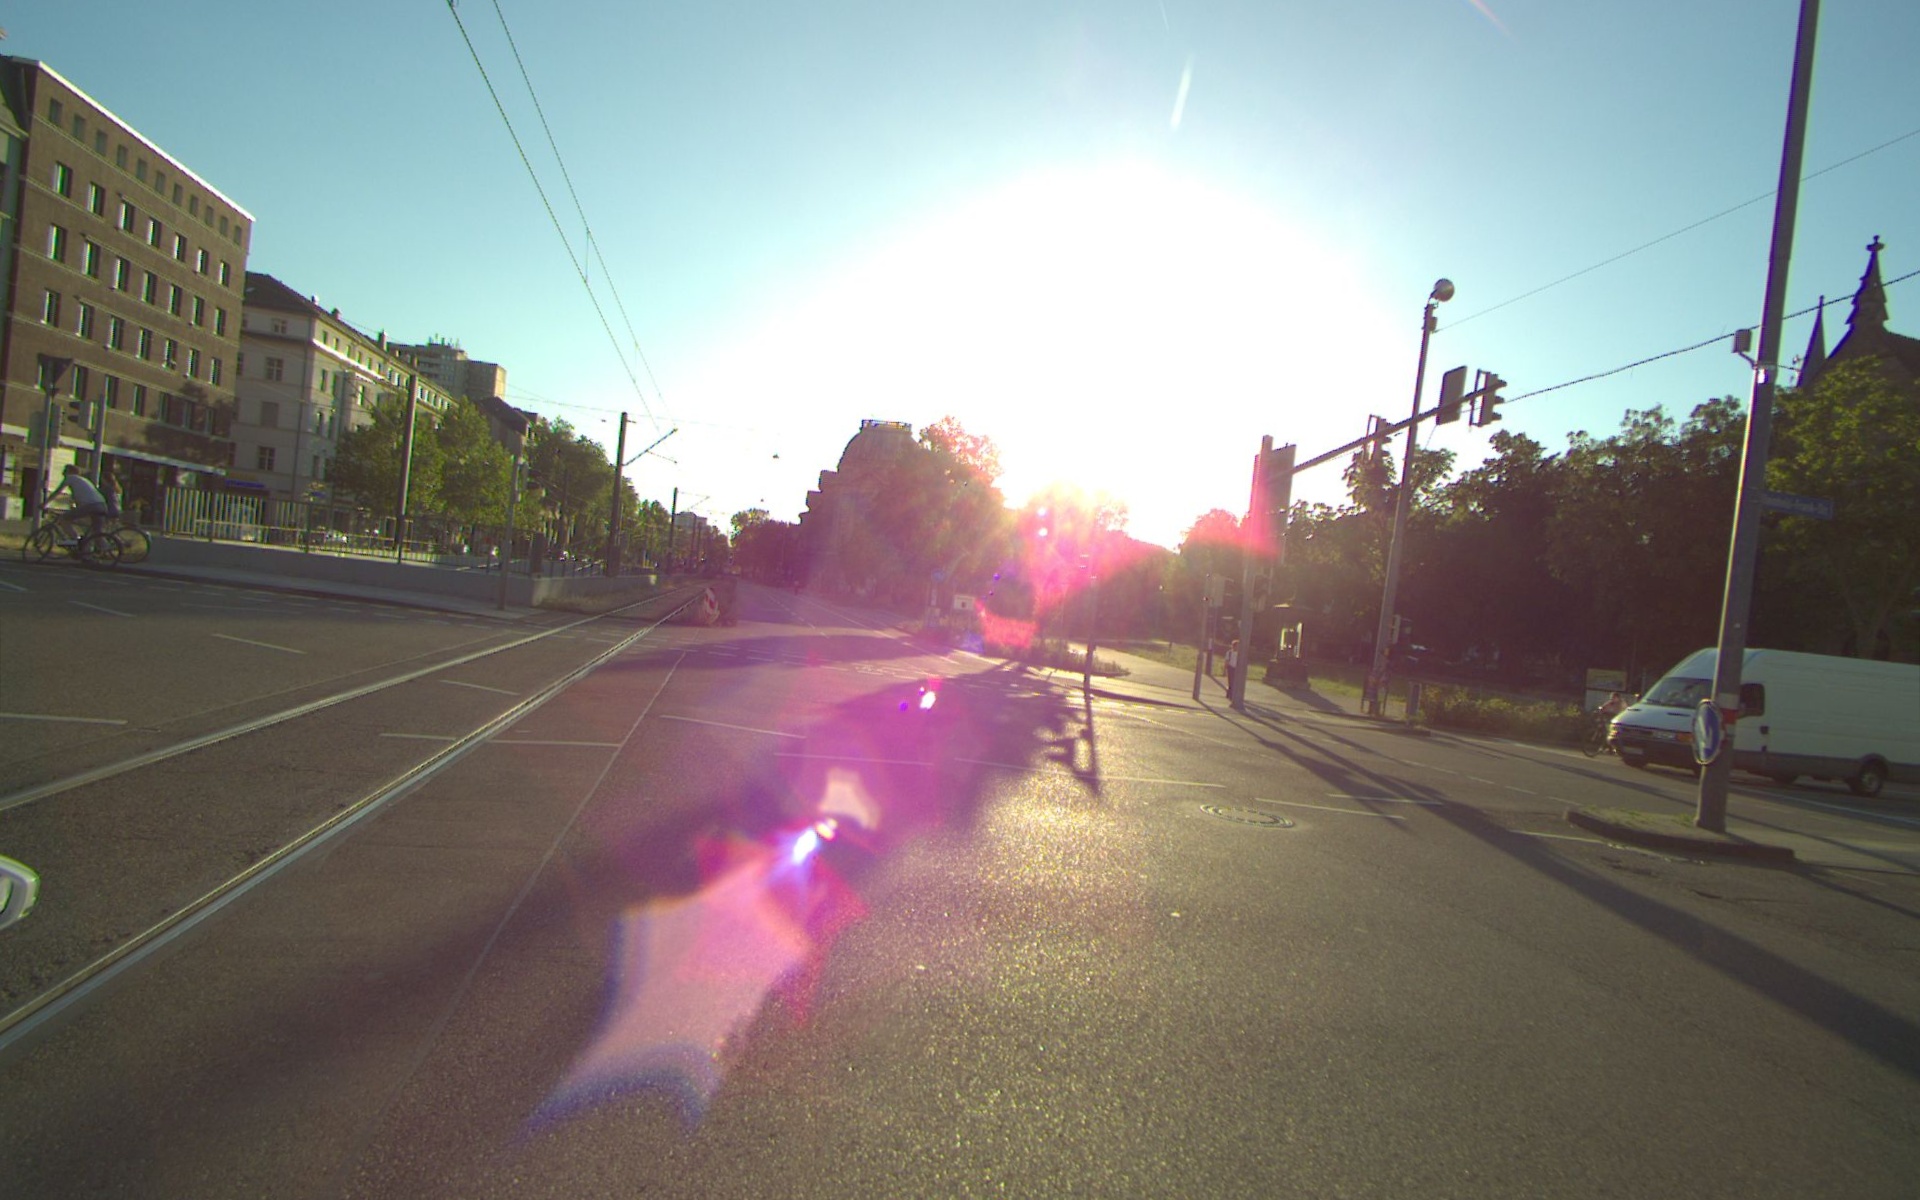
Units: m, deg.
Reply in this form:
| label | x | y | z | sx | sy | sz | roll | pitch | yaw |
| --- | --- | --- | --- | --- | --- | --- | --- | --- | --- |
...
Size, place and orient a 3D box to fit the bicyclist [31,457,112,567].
| label | x | y | z | sx | sy | sz | roll | pitch | yaw |
| --- | --- | --- | --- | --- | --- | --- | --- | --- | --- |
| bicyclist | -15.960 | -1.559 | 18.090 | 0.784 | 1.841 | 0.643 | 6 | 1 | -21 |

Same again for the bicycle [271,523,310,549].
| label | x | y | z | sx | sy | sz | roll | pitch | yaw |
| --- | --- | --- | --- | --- | --- | --- | --- | --- | --- |
| bicycle | -37.774 | -3.593 | 56.782 | 0.802 | 1.216 | 2.407 | 7 | 0 | -10 |

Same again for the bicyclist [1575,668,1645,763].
| label | x | y | z | sx | sy | sz | roll | pitch | yaw |
| --- | --- | --- | --- | --- | --- | --- | --- | --- | --- |
| bicyclist | 15.032 | 2.654 | 23.286 | 0.886 | 2.039 | 0.721 | 7 | 1 | -8 |

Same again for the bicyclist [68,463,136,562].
| label | x | y | z | sx | sy | sz | roll | pitch | yaw |
| --- | --- | --- | --- | --- | --- | --- | --- | --- | --- |
| bicyclist | -16.956 | -1.717 | 19.892 | 0.867 | 1.843 | 0.534 | 3 | 3 | -26 |

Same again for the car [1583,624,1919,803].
| label | x | y | z | sx | sy | sz | roll | pitch | yaw |
| --- | --- | --- | --- | --- | --- | --- | --- | --- | --- |
| car | 17.074 | 2.400 | 21.181 | 6.918 | 2.863 | 2.088 | 7 | 1 | -11 |

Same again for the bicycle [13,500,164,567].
| label | x | y | z | sx | sy | sz | roll | pitch | yaw |
| --- | --- | --- | --- | --- | --- | --- | --- | --- | --- |
| bicycle | -17.128 | -1.294 | 19.839 | 2.143 | 1.098 | 0.535 | 4 | 2 | -27 |

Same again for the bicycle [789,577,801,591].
| label | x | y | z | sx | sy | sz | roll | pitch | yaw |
| --- | --- | --- | --- | --- | --- | --- | --- | --- | --- |
| bicycle | -18.427 | -1.776 | 112.389 | 1.084 | 1.416 | 2.824 | 7 | 0 | -13 |

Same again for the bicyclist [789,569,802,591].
| label | x | y | z | sx | sy | sz | roll | pitch | yaw |
| --- | --- | --- | --- | --- | --- | --- | --- | --- | --- |
| bicyclist | -18.398 | -2.202 | 112.485 | 1.068 | 2.305 | 0.983 | 7 | 1 | -13 |

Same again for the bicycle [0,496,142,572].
| label | x | y | z | sx | sy | sz | roll | pitch | yaw |
| --- | --- | --- | --- | --- | --- | --- | --- | --- | --- |
| bicycle | -16.044 | -1.171 | 18.100 | 1.881 | 1.089 | 0.629 | 7 | 1 | -21 |

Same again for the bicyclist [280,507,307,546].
| label | x | y | z | sx | sy | sz | roll | pitch | yaw |
| --- | --- | --- | --- | --- | --- | --- | --- | --- | --- |
| bicyclist | -37.723 | -4.143 | 56.955 | 0.786 | 2.039 | 0.921 | 6 | 1 | -11 |

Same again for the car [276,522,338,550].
| label | x | y | z | sx | sy | sz | roll | pitch | yaw |
| --- | --- | --- | --- | --- | --- | --- | --- | --- | --- |
| car | -42.138 | -4.094 | 65.020 | 1.794 | 1.438 | 3.993 | 7 | 0 | -9 |

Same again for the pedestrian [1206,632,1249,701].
| label | x | y | z | sx | sy | sz | roll | pitch | yaw |
| --- | --- | --- | --- | --- | --- | --- | --- | --- | --- |
| pedestrian | 7.586 | 1.881 | 28.612 | 0.820 | 1.826 | 0.811 | 7 | 1 | 3 |

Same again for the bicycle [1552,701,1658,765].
| label | x | y | z | sx | sy | sz | roll | pitch | yaw |
| --- | --- | --- | --- | --- | --- | --- | --- | --- | --- |
| bicycle | 14.934 | 3.071 | 23.296 | 1.939 | 1.191 | 0.733 | 7 | 1 | -8 |

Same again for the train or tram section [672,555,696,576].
| label | x | y | z | sx | sy | sz | roll | pitch | yaw |
| --- | --- | --- | --- | --- | --- | --- | --- | --- | --- |
| train or tram section | -58.768 | -7.406 | 214.205 | 4.334 | 3.898 | 11.367 | 7 | 0 | -16 |

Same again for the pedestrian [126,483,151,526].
| label | x | y | z | sx | sy | sz | roll | pitch | yaw |
| --- | --- | --- | --- | --- | --- | --- | --- | --- | --- |
| pedestrian | -44.368 | -5.141 | 54.330 | 0.594 | 2.205 | 0.790 | 6 | 1 | -13 |
